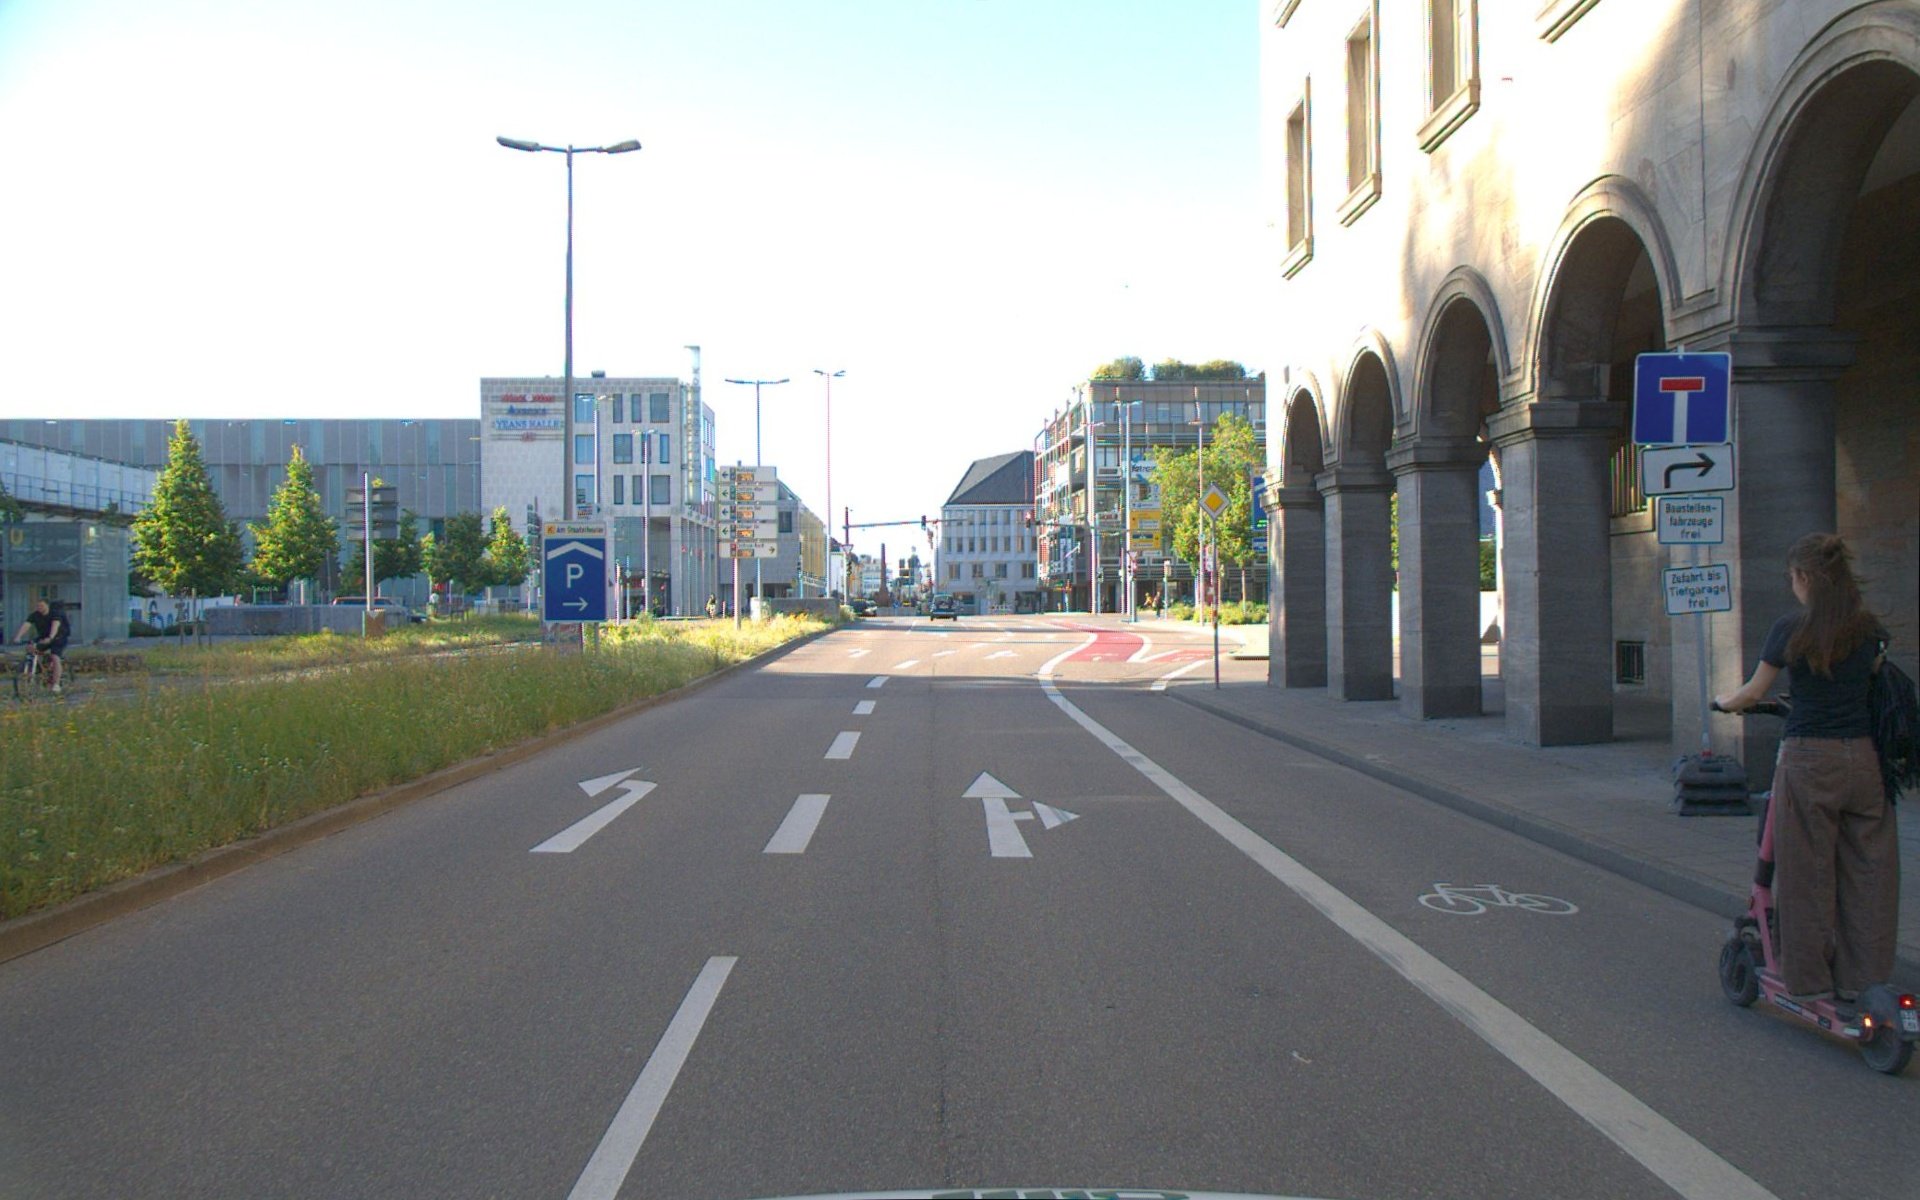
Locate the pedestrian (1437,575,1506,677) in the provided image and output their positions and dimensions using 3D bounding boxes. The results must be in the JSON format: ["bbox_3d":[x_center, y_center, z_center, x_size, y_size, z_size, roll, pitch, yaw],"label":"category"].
[{"bbox_3d":[8.215,0.402,26.599,0.760,1.597,0.952,-1,0,-3],"label":"pedestrian"}]

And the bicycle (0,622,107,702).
[{"bbox_3d":[-15.622,1.055,28.469,0.742,1.297,2.257,-1,-2,-1],"label":"bicycle"}]

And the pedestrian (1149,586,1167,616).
[{"bbox_3d":[12.229,0.050,102.018,0.804,1.779,1.042,-2,-1,21],"label":"pedestrian"}]

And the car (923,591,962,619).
[{"bbox_3d":[-1.071,0.281,98.267,1.743,1.591,3.780,-1,0,-10],"label":"car"}]

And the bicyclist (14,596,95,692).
[{"bbox_3d":[-15.627,0.760,28.561,0.732,1.618,1.202,-1,-2,-1],"label":"bicyclist"}]

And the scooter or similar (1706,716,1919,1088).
[{"bbox_3d":[3.130,0.967,5.648,0.545,1.049,1.116,-1,0,-7],"label":"scooter or similar"}]

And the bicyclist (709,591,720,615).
[{"bbox_3d":[-16.065,0.184,108.201,0.594,1.515,0.681,-1,0,4],"label":"bicyclist"}]

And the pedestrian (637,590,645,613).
[{"bbox_3d":[-28.027,0.132,145.335,0.611,2.049,0.515,-1,0,-9],"label":"pedestrian"}]

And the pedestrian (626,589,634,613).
[{"bbox_3d":[-28.847,0.082,144.678,0.611,2.049,0.515,-1,0,-9],"label":"pedestrian"}]

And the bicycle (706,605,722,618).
[{"bbox_3d":[-16.069,0.745,108.025,0.599,0.876,1.952,-1,0,4],"label":"bicycle"}]

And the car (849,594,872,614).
[{"bbox_3d":[-9.444,0.353,157.477,1.953,1.772,4.646,-1,1,-1],"label":"car"}]

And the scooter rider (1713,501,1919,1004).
[{"bbox_3d":[3.109,0.500,5.827,0.550,1.660,0.649,-1,0,-7],"label":"scooter rider"}]

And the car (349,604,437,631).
[{"bbox_3d":[-32.775,0.996,95.709,4.553,1.399,1.868,-1,-2,-9],"label":"car"}]

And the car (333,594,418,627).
[{"bbox_3d":[-35.366,0.616,100.119,4.553,1.842,1.868,-1,-2,-9],"label":"car"}]

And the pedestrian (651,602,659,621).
[{"bbox_3d":[-26.518,0.966,143.765,0.610,1.636,0.653,-1,0,-2],"label":"pedestrian"}]
